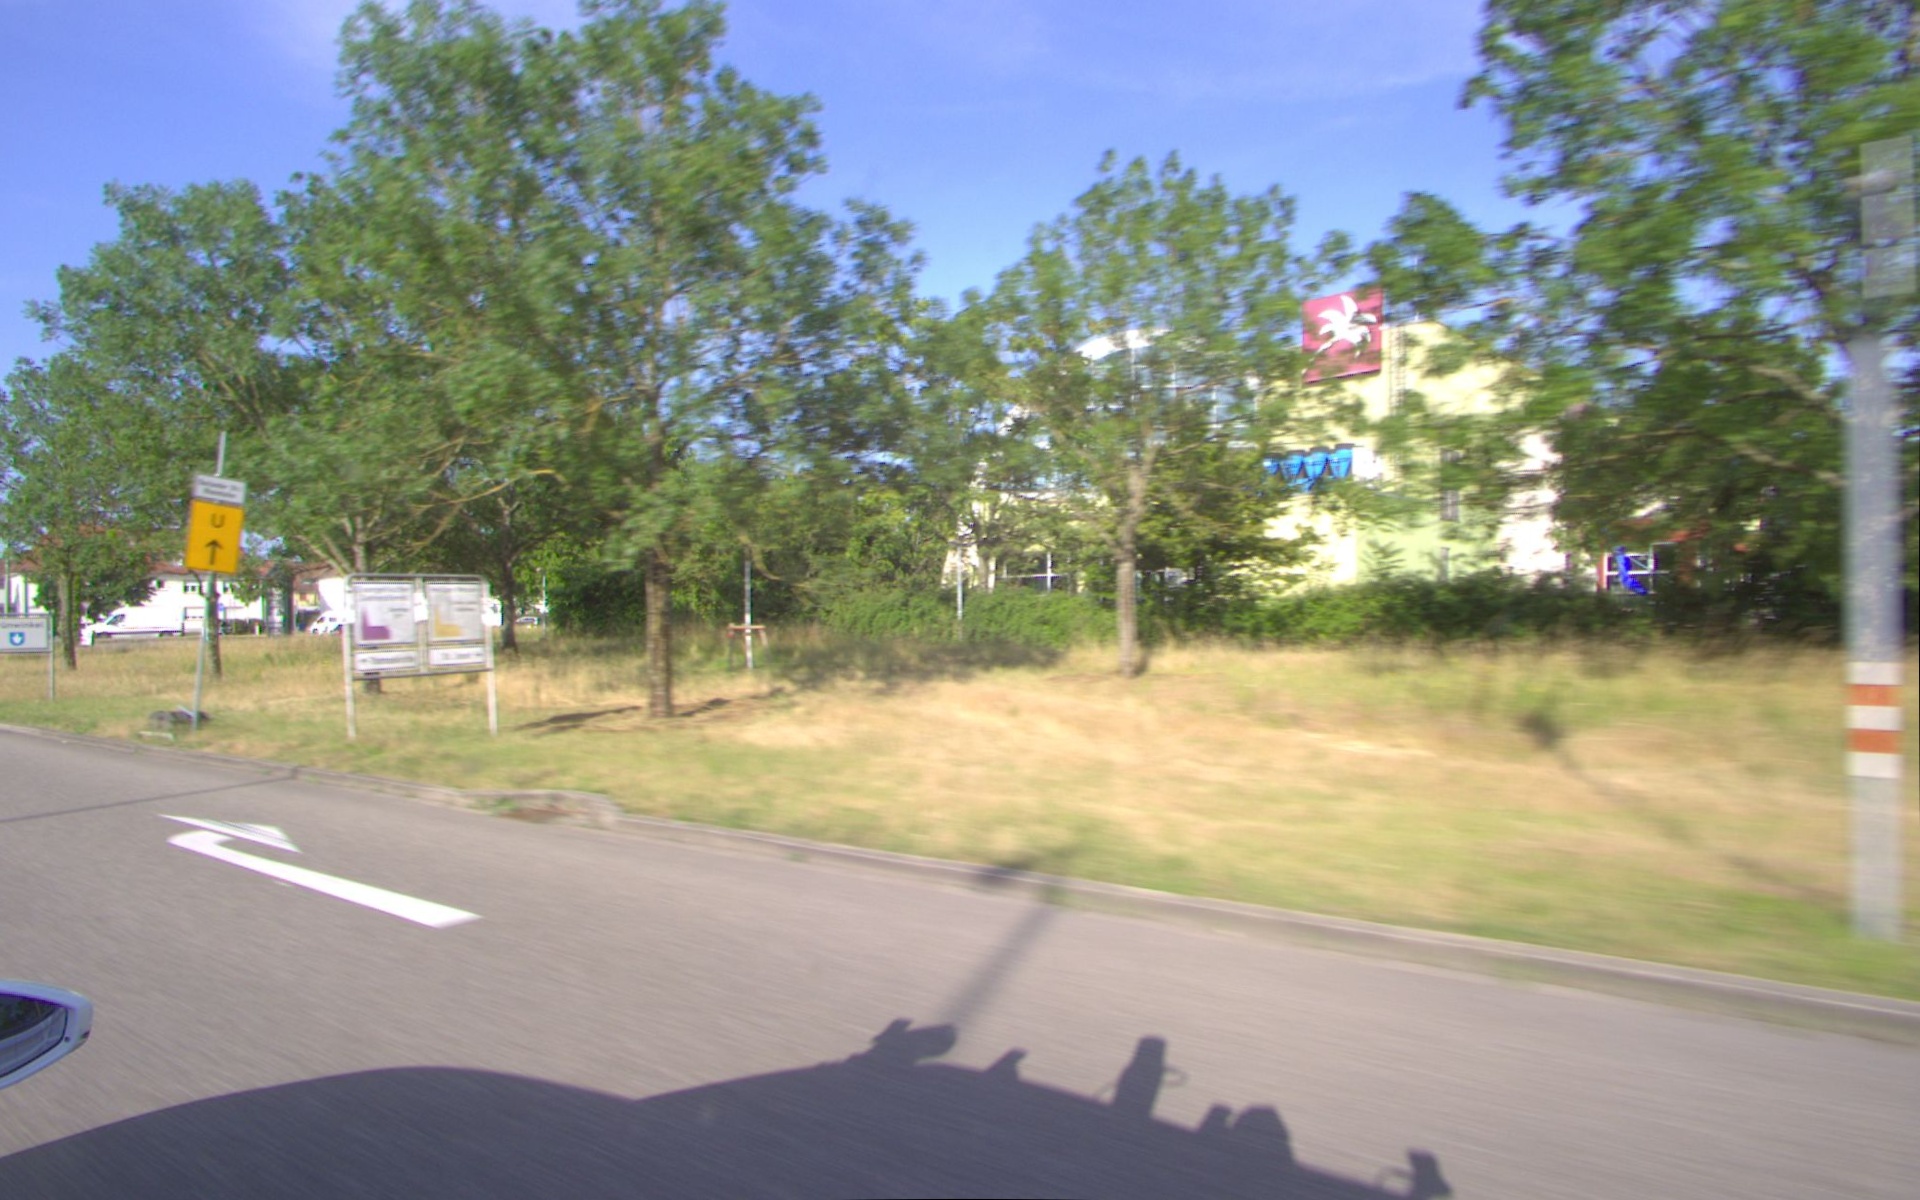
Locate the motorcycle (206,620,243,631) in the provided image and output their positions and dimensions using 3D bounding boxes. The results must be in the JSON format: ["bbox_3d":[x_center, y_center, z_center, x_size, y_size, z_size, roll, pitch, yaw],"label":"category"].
[{"bbox_3d":[-58.883,2.026,80.195,0.682,0.878,2.261,0,0,40],"label":"motorcycle"}]

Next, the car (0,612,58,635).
[{"bbox_3d":[-67.593,1.706,71.092,1.819,1.583,5.069,-1,0,41],"label":"car"}]

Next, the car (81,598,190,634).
[{"bbox_3d":[-62.979,1.192,76.586,1.977,2.617,6.178,0,0,41],"label":"car"}]

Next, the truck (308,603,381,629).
[{"bbox_3d":[-62.086,1.581,101.049,6.234,2.557,2.277,0,0,6],"label":"truck"}]
